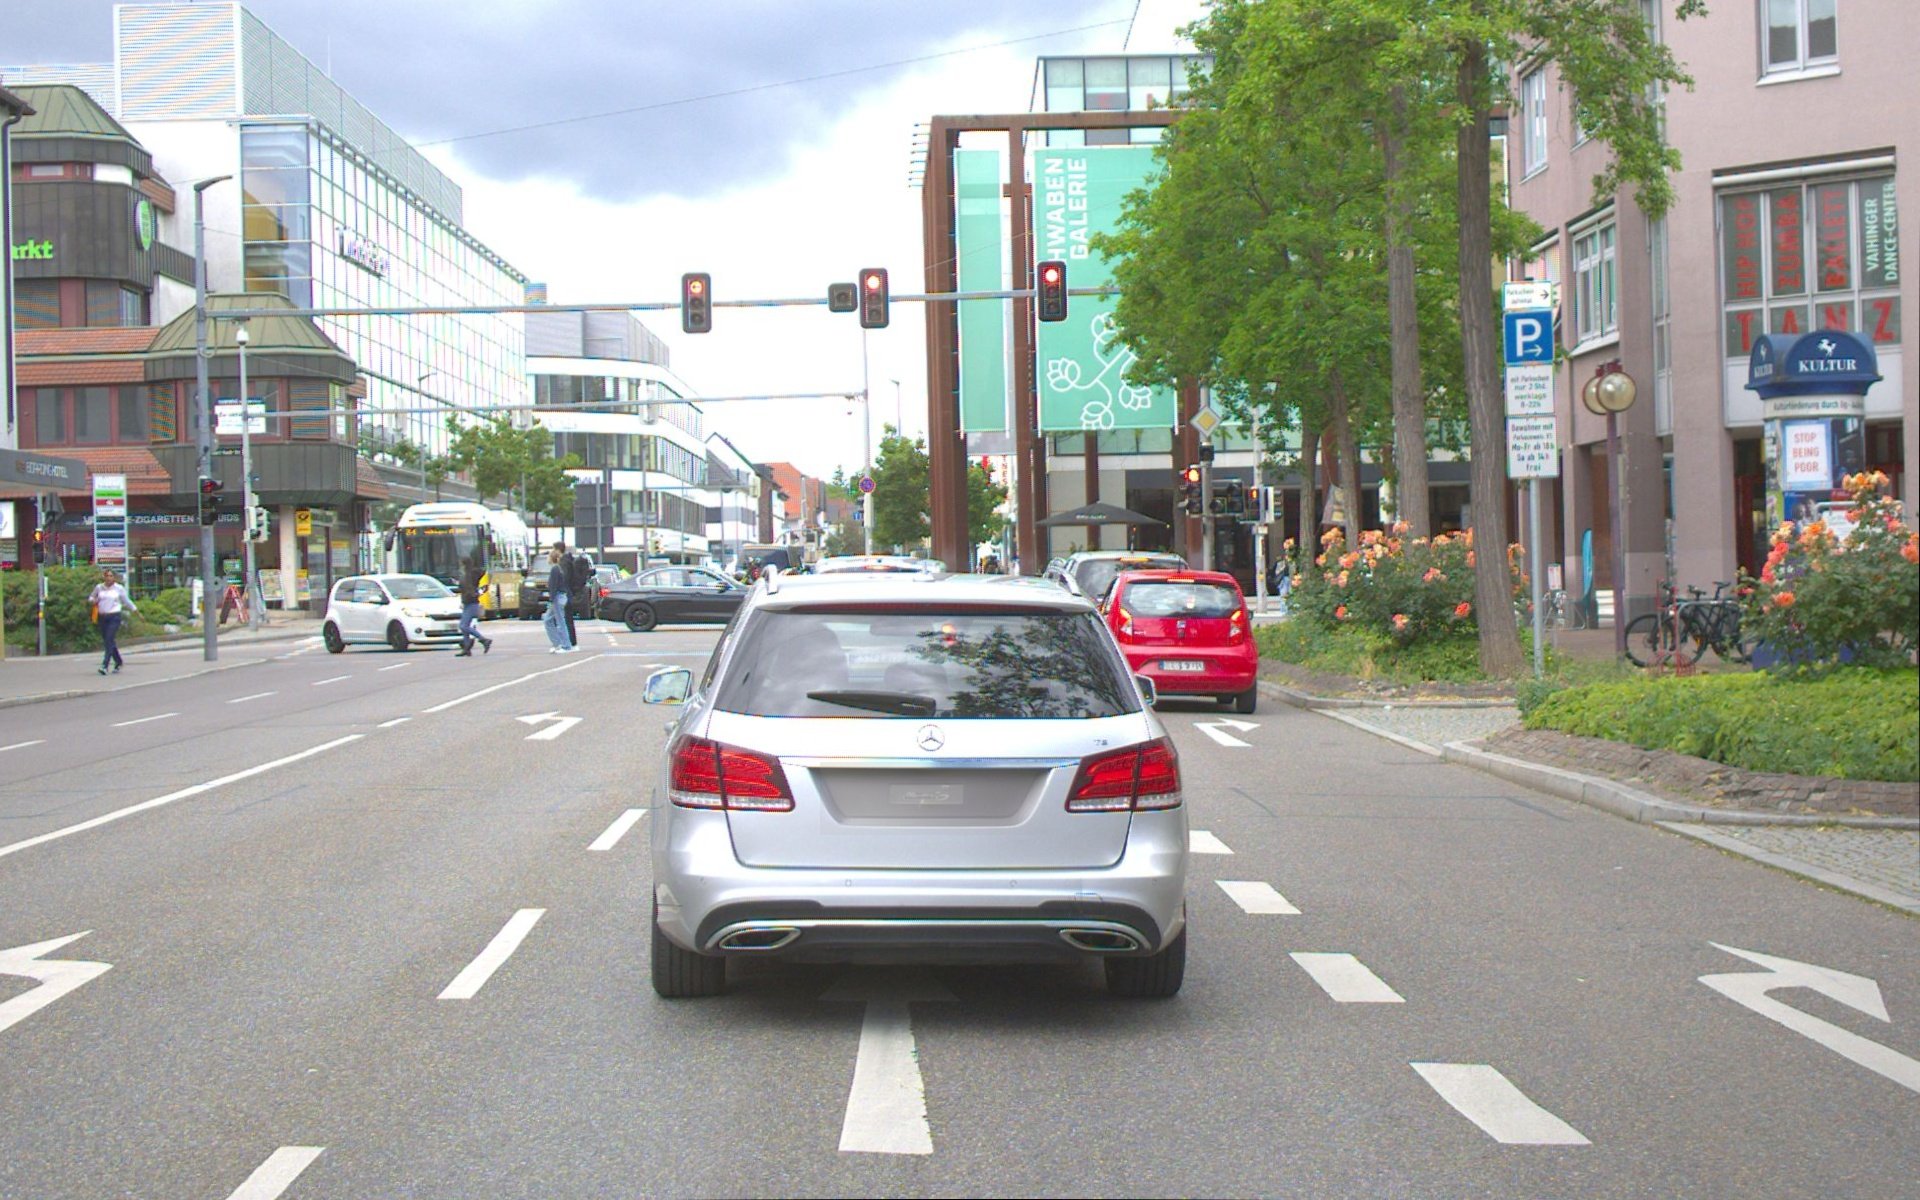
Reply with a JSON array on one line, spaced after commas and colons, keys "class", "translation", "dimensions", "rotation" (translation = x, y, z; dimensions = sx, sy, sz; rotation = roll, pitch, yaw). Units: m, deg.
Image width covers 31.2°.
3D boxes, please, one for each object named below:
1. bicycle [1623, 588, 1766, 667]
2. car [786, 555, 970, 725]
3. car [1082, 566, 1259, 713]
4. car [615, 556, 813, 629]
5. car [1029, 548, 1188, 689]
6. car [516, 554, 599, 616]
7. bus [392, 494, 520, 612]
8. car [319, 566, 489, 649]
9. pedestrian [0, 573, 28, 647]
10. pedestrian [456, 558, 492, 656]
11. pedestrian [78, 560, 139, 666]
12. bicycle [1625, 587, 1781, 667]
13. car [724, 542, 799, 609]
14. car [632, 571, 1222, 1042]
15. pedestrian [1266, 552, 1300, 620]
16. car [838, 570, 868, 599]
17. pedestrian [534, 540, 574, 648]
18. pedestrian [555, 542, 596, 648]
[{"class": "bicycle", "translation": [9.578, 0.358, 44.877], "dimensions": [1.769, 0.994, 0.447], "rotation": [-1, 1, 4]}, {"class": "car", "translation": [-0.772, 0.341, 32.650], "dimensions": [1.640, 1.522, 3.394], "rotation": [0, 1, -1]}, {"class": "car", "translation": [2.174, 0.381, 36.209], "dimensions": [1.586, 1.438, 3.348], "rotation": [1, 1, -1]}, {"class": "car", "translation": [-5.346, -0.170, 74.965], "dimensions": [4.187, 1.525, 1.790], "rotation": [-1, 1, 0]}, {"class": "car", "translation": [1.785, 0.192, 42.317], "dimensions": [1.586, 1.628, 3.917], "rotation": [1, 1, -3]}, {"class": "car", "translation": [-11.313, -0.430, 96.846], "dimensions": [1.993, 1.700, 4.065], "rotation": [-1, 1, -2]}, {"class": "bus", "translation": [-14.518, -1.366, 99.580], "dimensions": [2.686, 3.250, 8.654], "rotation": [-1, 1, -2]}, {"class": "car", "translation": [-10.504, 0.147, 64.786], "dimensions": [1.574, 1.483, 3.462], "rotation": [-2, 1, -40]}, {"class": "pedestrian", "translation": [-18.386, 0.192, 66.706], "dimensions": [0.450, 1.423, 0.441], "rotation": [-1, 0, 0]}, {"class": "pedestrian", "translation": [-8.215, 0.115, 58.100], "dimensions": [0.557, 1.645, 0.654], "rotation": [-1, 1, -10]}, {"class": "pedestrian", "translation": [-13.064, 0.190, 52.732], "dimensions": [0.728, 1.604, 0.753], "rotation": [-1, 1, -1]}, {"class": "bicycle", "translation": [9.578, 0.344, 44.330], "dimensions": [1.901, 0.994, 0.468], "rotation": [-1, 1, 4]}, {"class": "car", "translation": [-5.906, -0.737, 102.842], "dimensions": [1.993, 1.942, 4.951], "rotation": [-1, 1, -1]}, {"class": "car", "translation": [-0.248, 0.631, 12.894], "dimensions": [1.815, 1.443, 4.370], "rotation": [1, 0, -4]}, {"class": "pedestrian", "translation": [7.990, -0.349, 85.041], "dimensions": [0.651, 1.645, 0.559], "rotation": [-1, 1, -15]}, {"class": "car", "translation": [-6.351, -0.944, 203.901], "dimensions": [1.716, 1.700, 4.065], "rotation": [-1, 1, -2]}, {"class": "pedestrian", "translation": [-6.788, -0.109, 57.501], "dimensions": [0.646, 1.784, 0.684], "rotation": [-1, 1, -6]}, {"class": "pedestrian", "translation": [-6.503, -0.089, 58.160], "dimensions": [0.644, 1.769, 0.570], "rotation": [-1, 1, -6]}]
